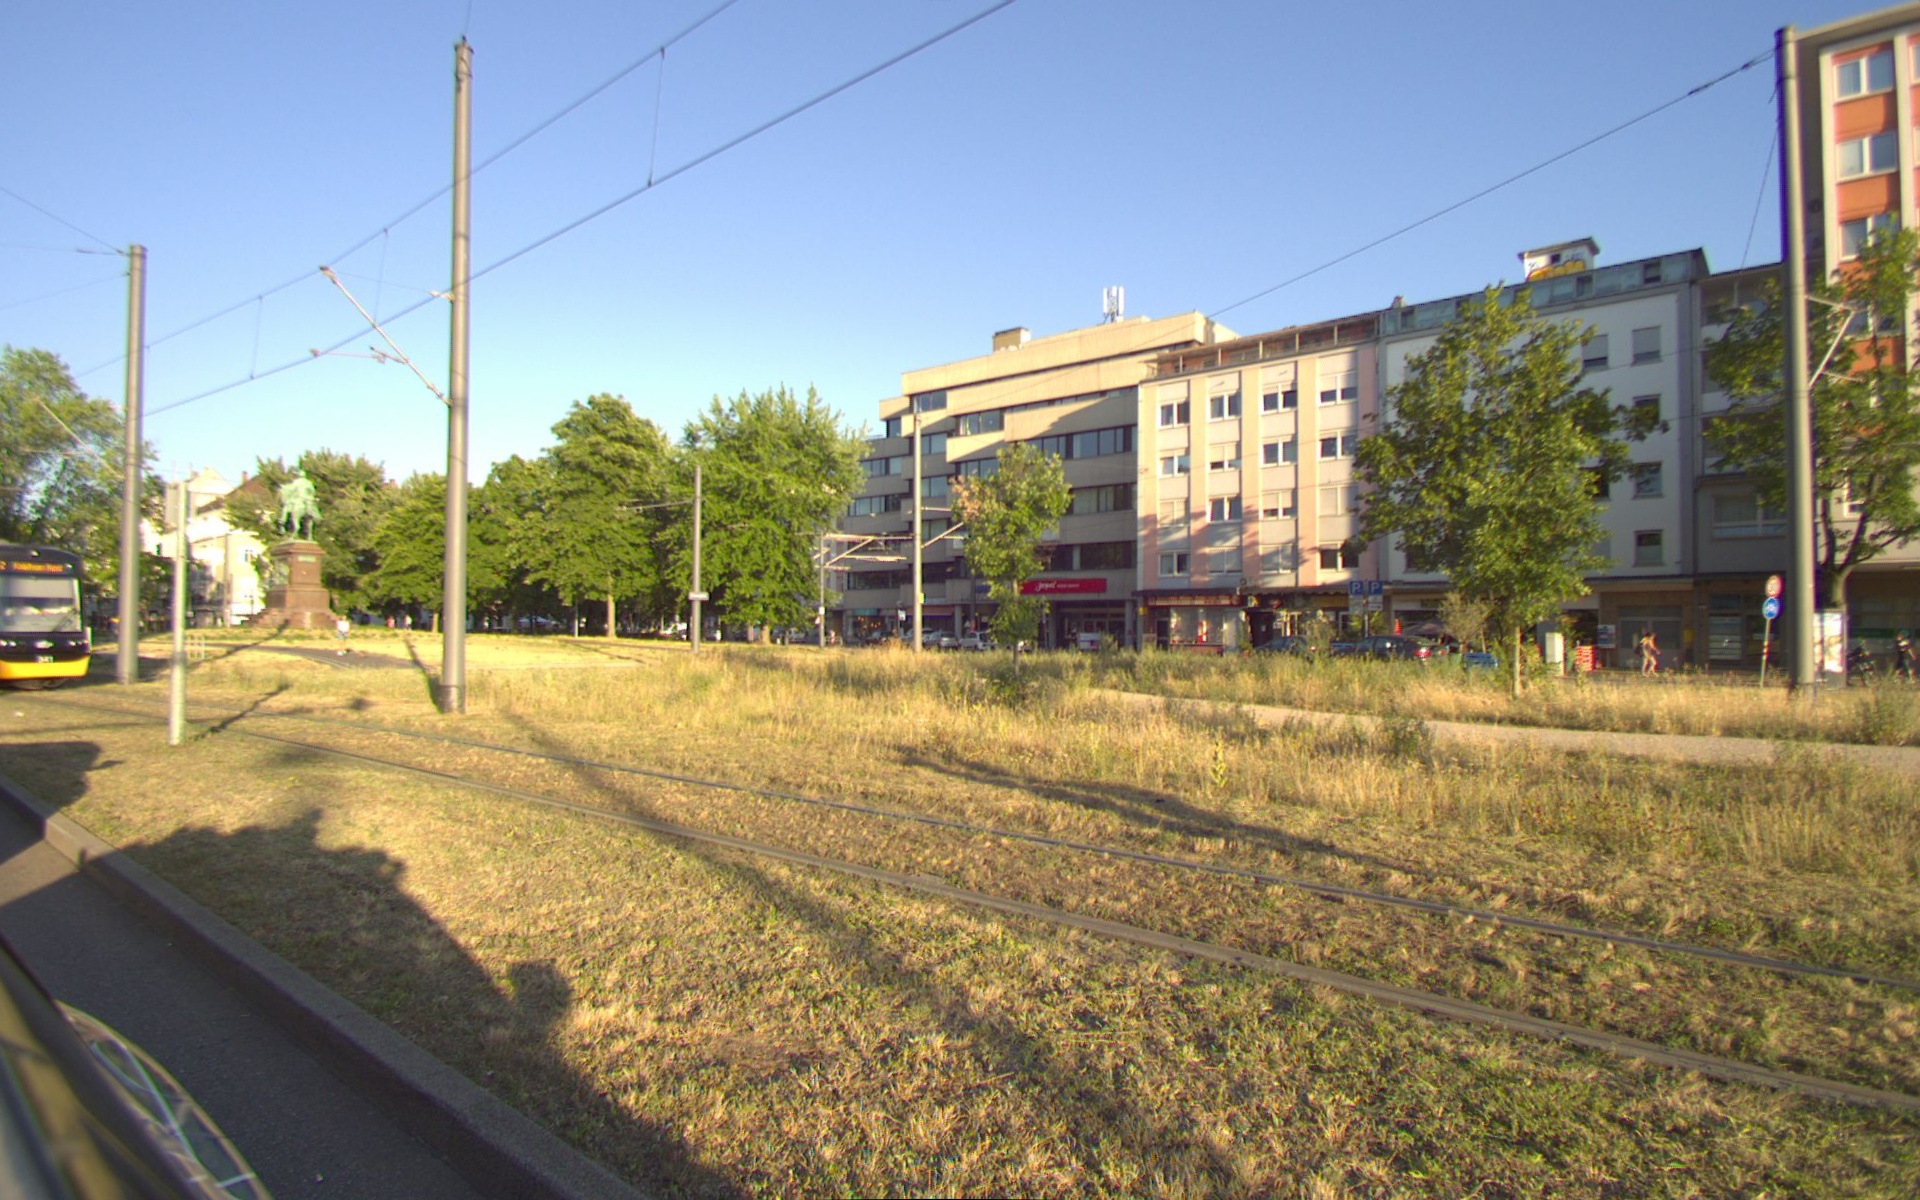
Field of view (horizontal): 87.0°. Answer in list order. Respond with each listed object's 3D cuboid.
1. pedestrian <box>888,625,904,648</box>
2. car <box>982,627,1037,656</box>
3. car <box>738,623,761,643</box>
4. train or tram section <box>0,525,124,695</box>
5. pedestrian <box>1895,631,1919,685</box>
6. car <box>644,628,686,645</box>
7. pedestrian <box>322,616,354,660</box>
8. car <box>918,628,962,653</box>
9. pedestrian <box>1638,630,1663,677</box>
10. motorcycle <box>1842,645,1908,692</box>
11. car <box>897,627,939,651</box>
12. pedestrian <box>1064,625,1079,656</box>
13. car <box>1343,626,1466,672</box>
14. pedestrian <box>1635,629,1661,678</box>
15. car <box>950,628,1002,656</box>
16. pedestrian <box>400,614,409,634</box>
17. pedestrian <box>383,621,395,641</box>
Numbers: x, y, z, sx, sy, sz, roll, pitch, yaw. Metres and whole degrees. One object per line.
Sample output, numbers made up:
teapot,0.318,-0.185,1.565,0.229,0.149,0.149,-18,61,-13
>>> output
pedestrian,-5.668,3.243,90.175,0.892,2.051,1.123,-2,-2,43
car,3.224,2.711,66.855,1.892,1.878,4.013,1,-2,-27
car,-23.562,3.667,113.213,1.966,2.029,4.012,-1,0,-18
train or tram section,-26.734,0.326,25.963,13.144,3.767,2.893,-1,-2,26
pedestrian,31.896,1.939,34.024,0.630,1.782,0.589,-1,-2,41
car,-31.376,3.854,107.627,3.933,1.769,1.973,1,-2,-33
pedestrian,-24.941,1.531,40.600,0.797,1.741,0.880,-2,-2,41
car,-1.529,3.054,77.055,1.965,1.893,4.013,1,-2,-23
pedestrian,26.310,2.027,38.569,0.698,1.764,0.642,-2,-2,41
motorcycle,26.587,1.978,29.413,1.390,1.328,0.376,-2,-2,43
car,-3.455,3.130,81.963,1.965,1.951,4.013,1,-2,-25
pedestrian,7.179,2.605,64.941,0.700,1.949,0.683,-2,-2,41
car,17.266,1.867,39.517,1.965,1.697,4.012,1,-2,-28
pedestrian,25.894,2.000,38.085,0.704,1.806,0.587,-2,-2,41
car,1.100,2.940,71.517,1.965,1.893,4.013,1,-2,-27
pedestrian,-47.745,2.030,86.935,0.512,1.707,0.528,-1,-2,41
pedestrian,-48.724,2.635,86.370,0.635,1.682,0.702,-1,-2,41
